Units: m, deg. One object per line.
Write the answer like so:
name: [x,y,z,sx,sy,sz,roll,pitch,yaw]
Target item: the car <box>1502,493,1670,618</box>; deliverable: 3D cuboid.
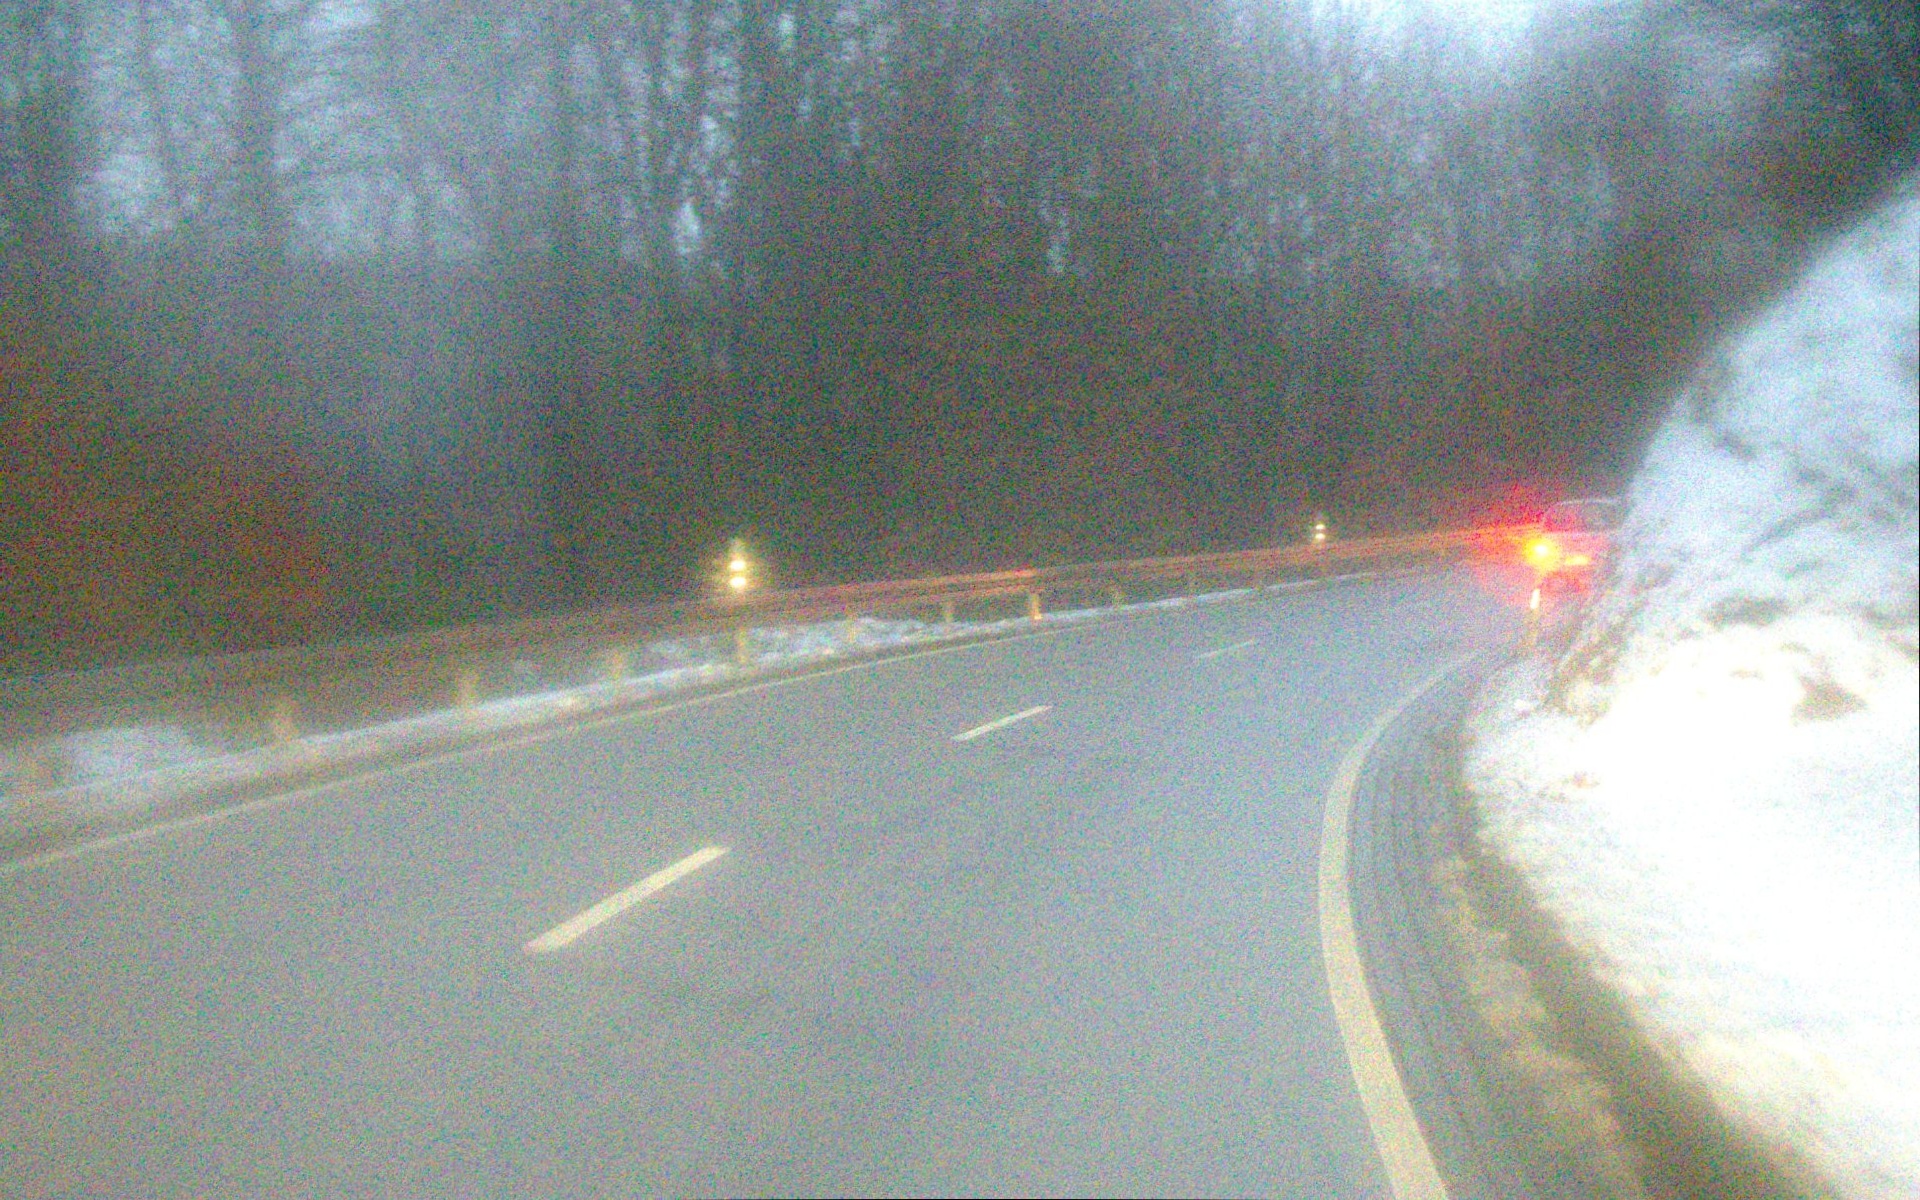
car: [9.979,-0.712,54.586,1.995,1.866,3.996,-1,1,19]
